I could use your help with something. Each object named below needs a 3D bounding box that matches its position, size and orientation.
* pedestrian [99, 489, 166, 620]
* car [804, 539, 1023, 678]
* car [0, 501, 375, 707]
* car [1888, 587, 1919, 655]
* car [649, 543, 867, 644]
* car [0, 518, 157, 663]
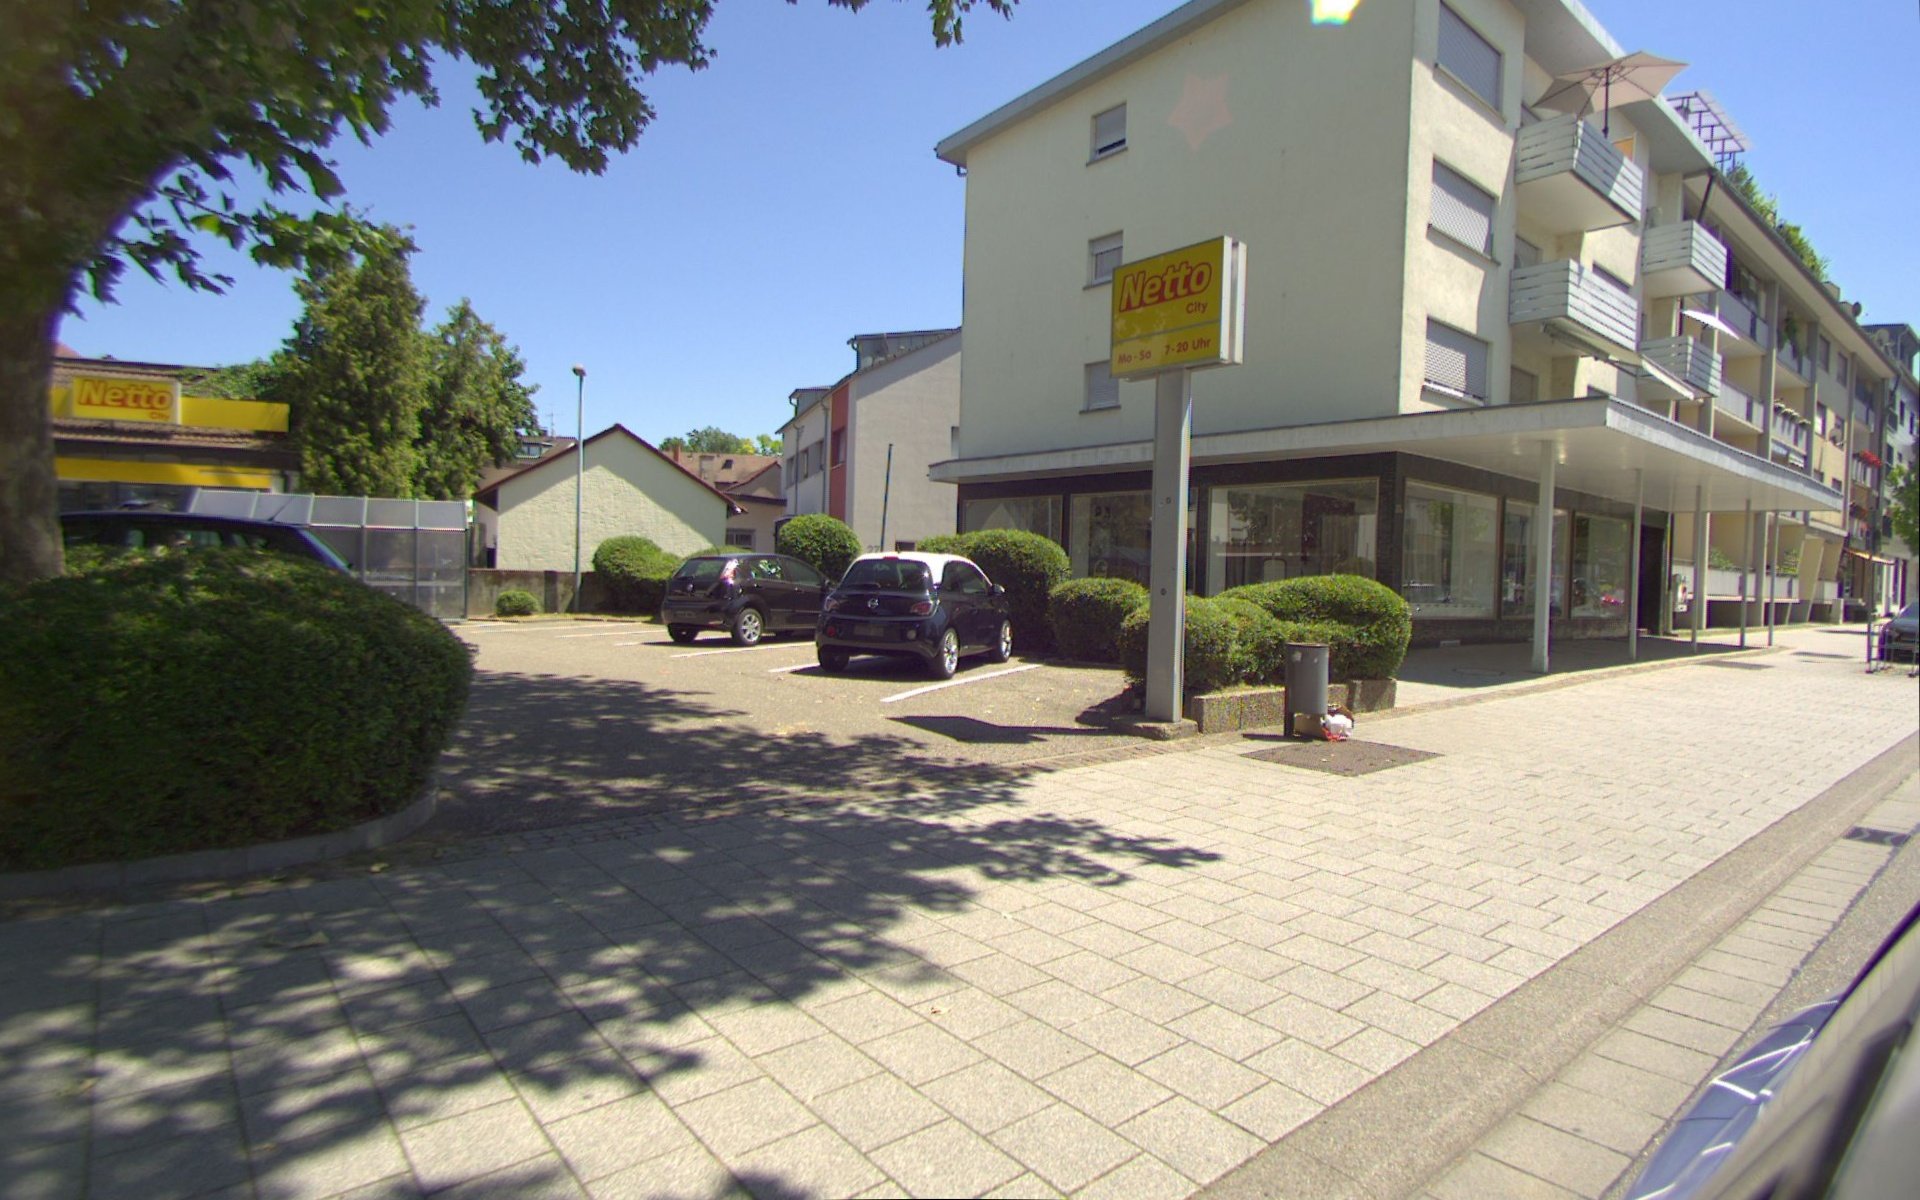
[{"bbox_3d":[-9.685,-0.525,11.861,0.505,1.486,0.606,1,1,-29],"label":"pedestrian"},{"bbox_3d":[-0.462,0.033,13.204,1.715,1.518,3.442,2,2,19],"label":"car"},{"bbox_3d":[-7.338,-0.005,8.618,4.015,1.562,1.693,0,2,-29],"label":"car"},{"bbox_3d":[22.041,0.494,22.302,4.043,1.403,1.818,0,5,-41],"label":"car"},{"bbox_3d":[-3.353,-0.155,17.349,1.724,1.518,3.590,1,2,31],"label":"car"},{"bbox_3d":[-11.468,-0.141,11.283,3.681,1.555,1.845,0,2,-29],"label":"car"}]
